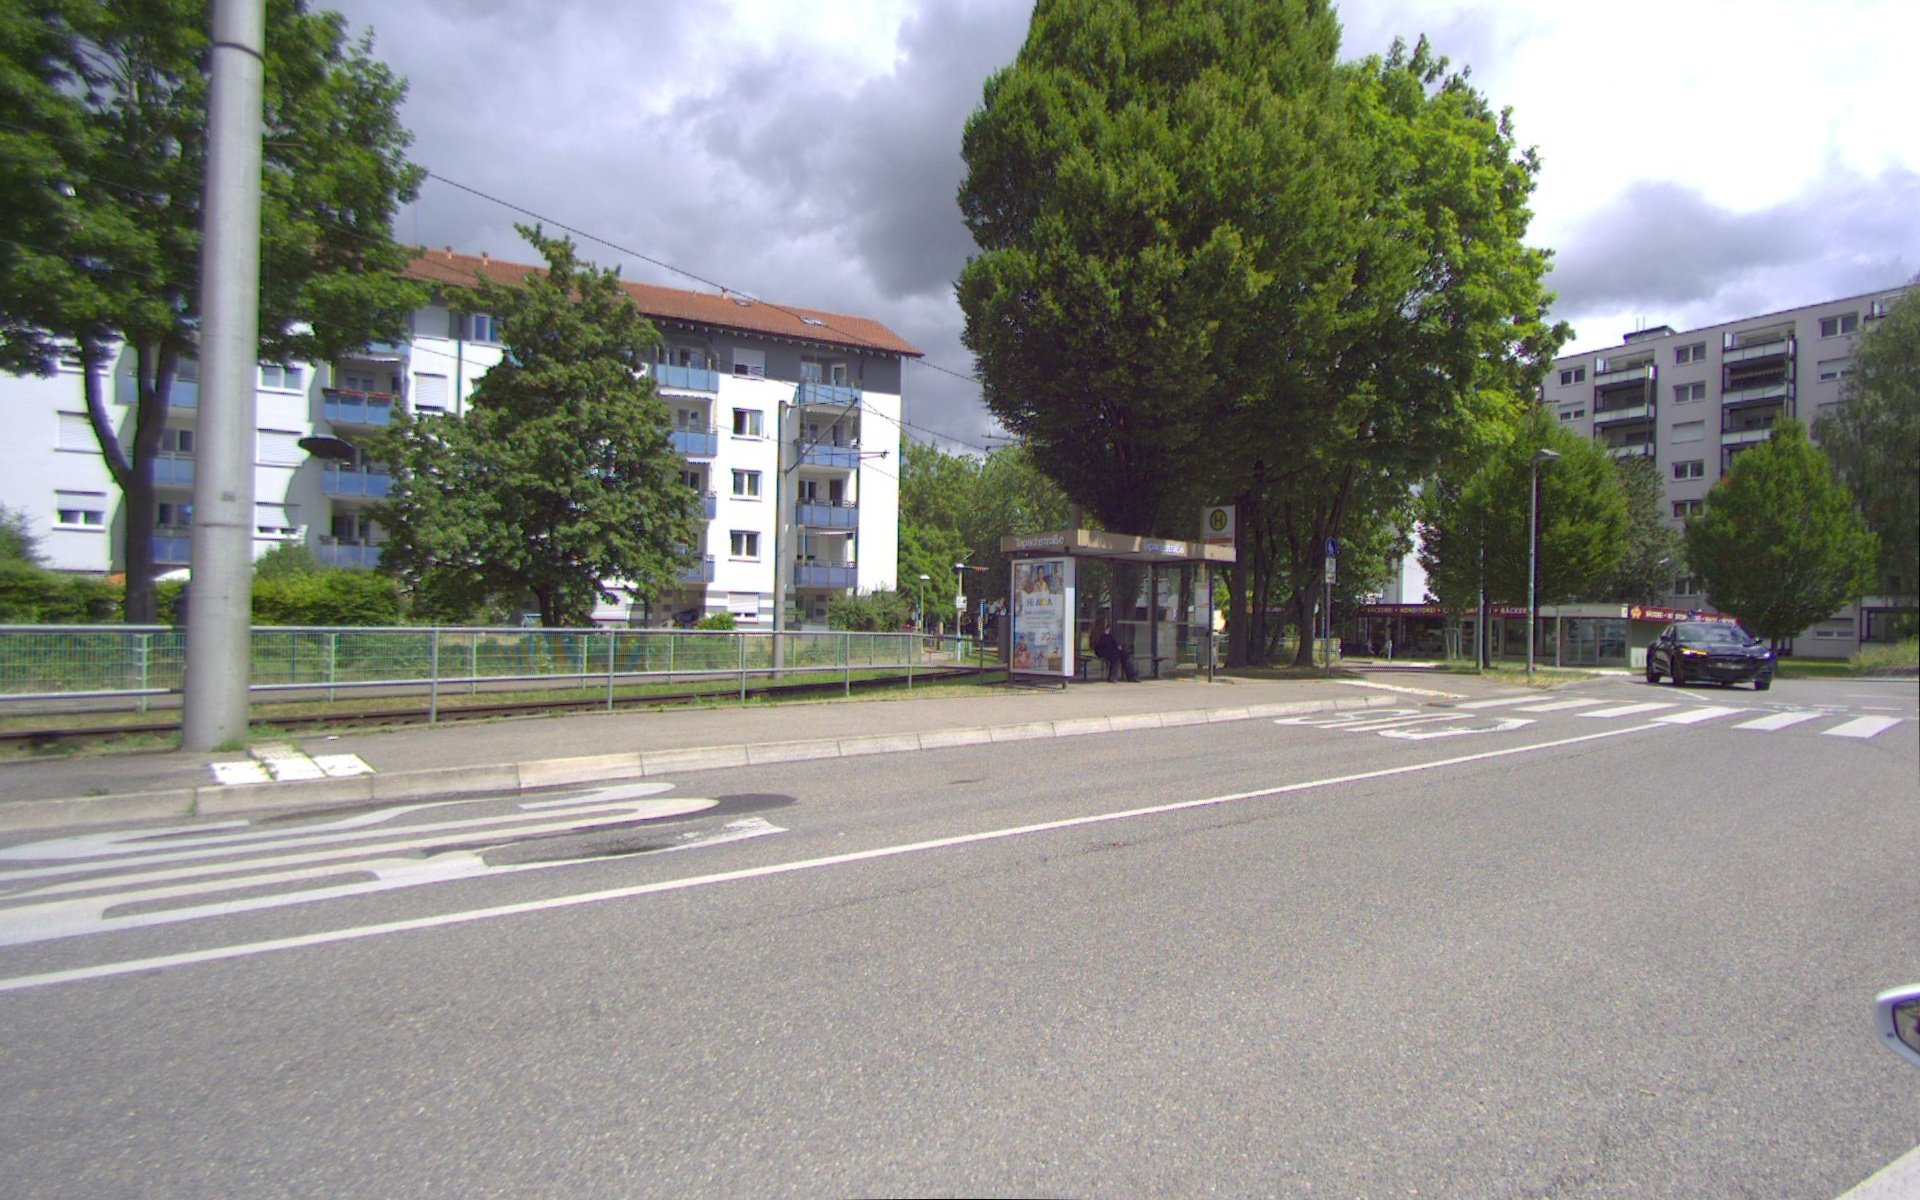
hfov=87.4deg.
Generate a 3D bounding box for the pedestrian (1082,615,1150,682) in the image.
[{"bbox_3d":[2.781,0.850,17.911,0.903,1.150,0.792,2,0,-38],"label":"pedestrian"}]

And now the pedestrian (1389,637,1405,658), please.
[{"bbox_3d":[29.730,3.210,68.335,0.710,1.399,0.694,1,-2,-25],"label":"pedestrian"}]

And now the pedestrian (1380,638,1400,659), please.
[{"bbox_3d":[29.040,3.285,67.833,0.871,1.342,0.815,2,1,-32],"label":"pedestrian"}]

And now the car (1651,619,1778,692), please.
[{"bbox_3d":[18.393,1.281,24.695,1.965,1.546,4.515,1,0,30],"label":"car"}]
